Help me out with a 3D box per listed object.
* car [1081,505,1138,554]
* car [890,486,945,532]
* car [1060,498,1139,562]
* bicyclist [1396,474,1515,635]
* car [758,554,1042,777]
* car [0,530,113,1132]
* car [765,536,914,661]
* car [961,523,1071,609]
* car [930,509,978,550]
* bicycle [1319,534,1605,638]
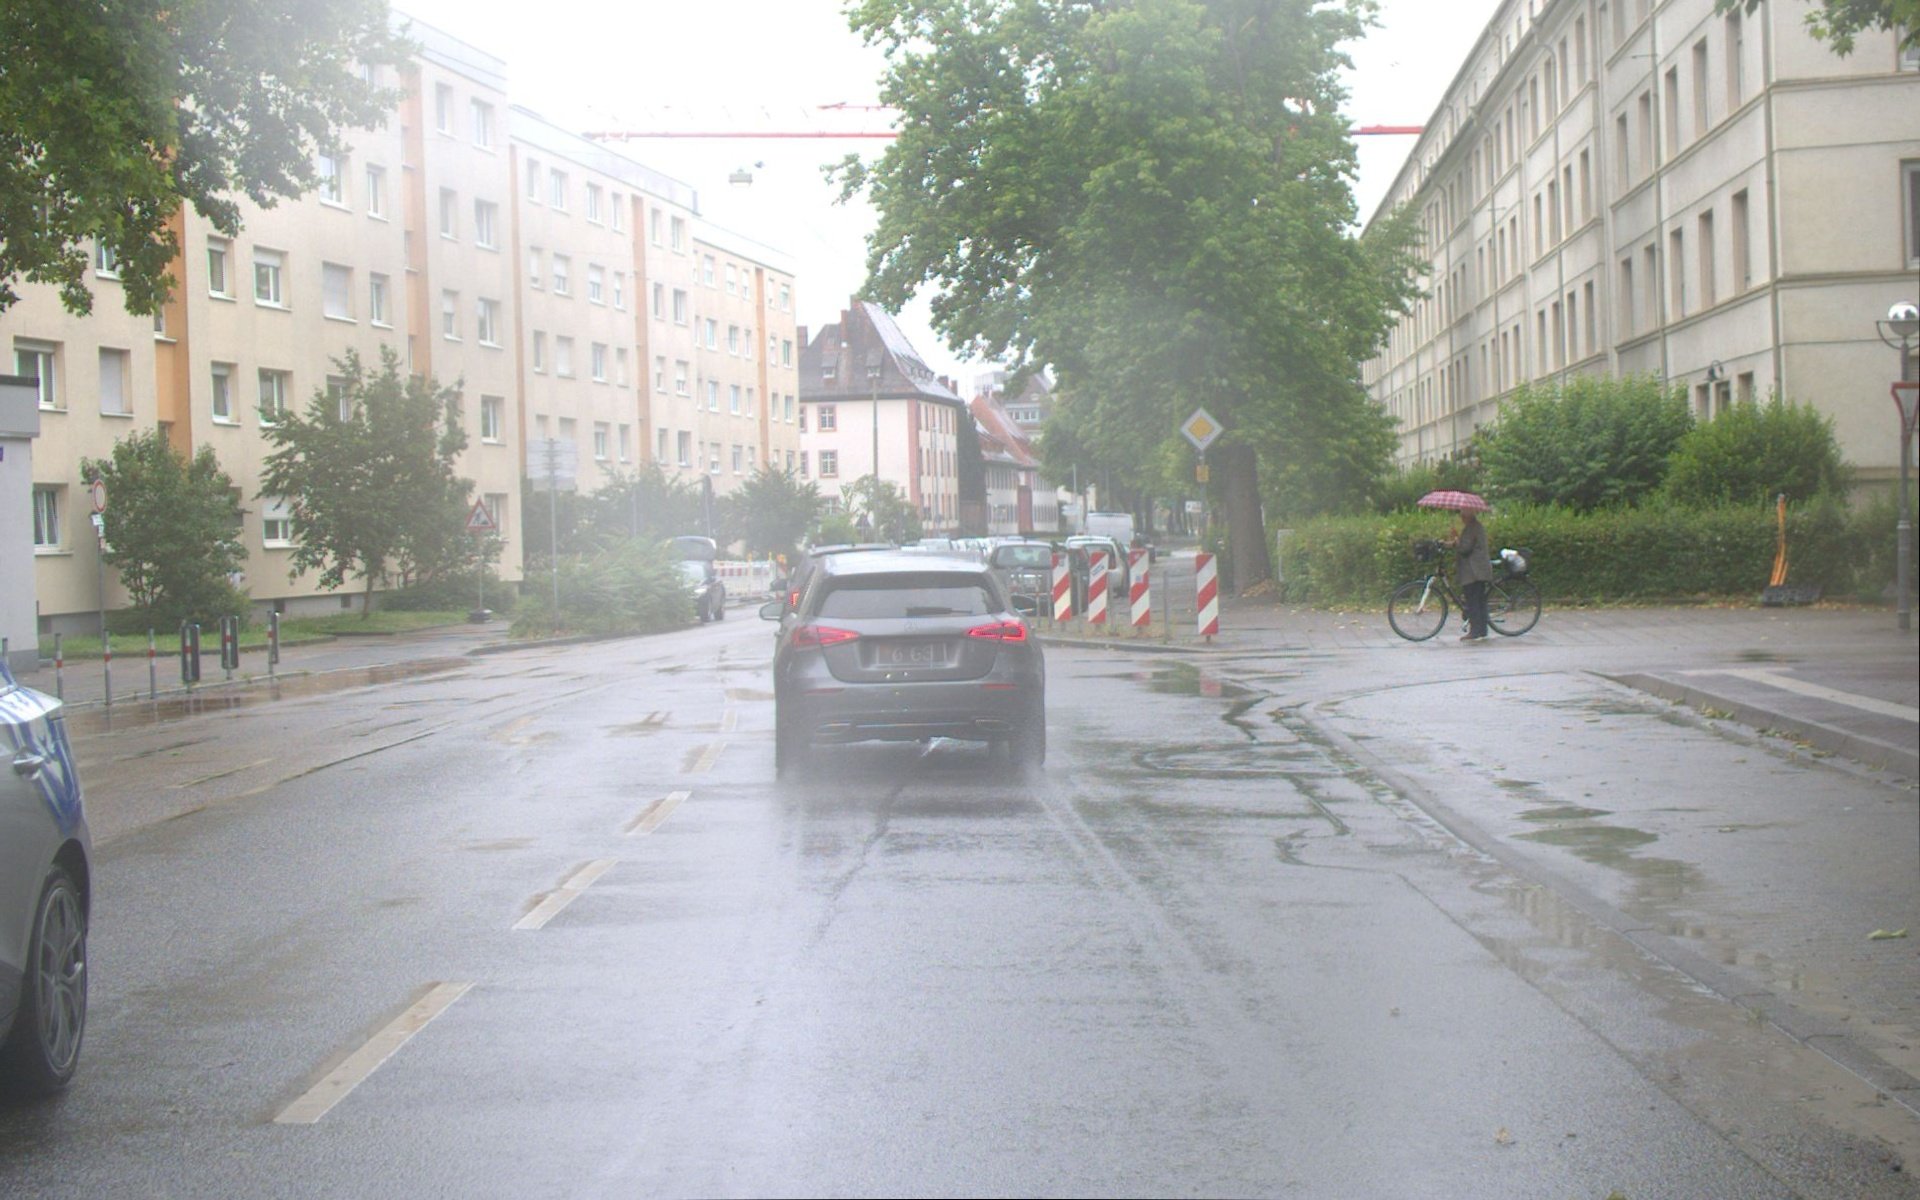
[{"bbox_3d":[5.906,-2.783,135.408,2.047,1.830,4.791,-2,1,4],"label":"car"},{"bbox_3d":[-1.745,-3.764,143.024,1.890,1.830,4.000,-2,1,4],"label":"car"},{"bbox_3d":[3.633,-1.806,88.865,1.890,1.568,4.000,-2,1,4],"label":"car"},{"bbox_3d":[5.897,-0.543,40.940,0.938,1.862,1.143,-2,1,-18],"label":"bicyclist"},{"bbox_3d":[-0.379,0.391,23.547,1.791,1.368,3.507,-1,1,0],"label":"car"},{"bbox_3d":[-3.331,0.623,7.764,1.845,1.505,4.056,-2,1,-1],"label":"car"},{"bbox_3d":[-1.426,-0.053,41.878,1.607,1.367,4.000,-3,1,0],"label":"car"},{"bbox_3d":[1.069,-0.683,67.501,1.993,1.568,4.000,-2,1,-1],"label":"car"},{"bbox_3d":[-0.254,-3.296,160.485,1.890,1.830,4.000,-2,1,4],"label":"car"},{"bbox_3d":[5.991,-0.179,41.025,3.205,1.108,1.054,-2,1,-18],"label":"bicycle"}]
